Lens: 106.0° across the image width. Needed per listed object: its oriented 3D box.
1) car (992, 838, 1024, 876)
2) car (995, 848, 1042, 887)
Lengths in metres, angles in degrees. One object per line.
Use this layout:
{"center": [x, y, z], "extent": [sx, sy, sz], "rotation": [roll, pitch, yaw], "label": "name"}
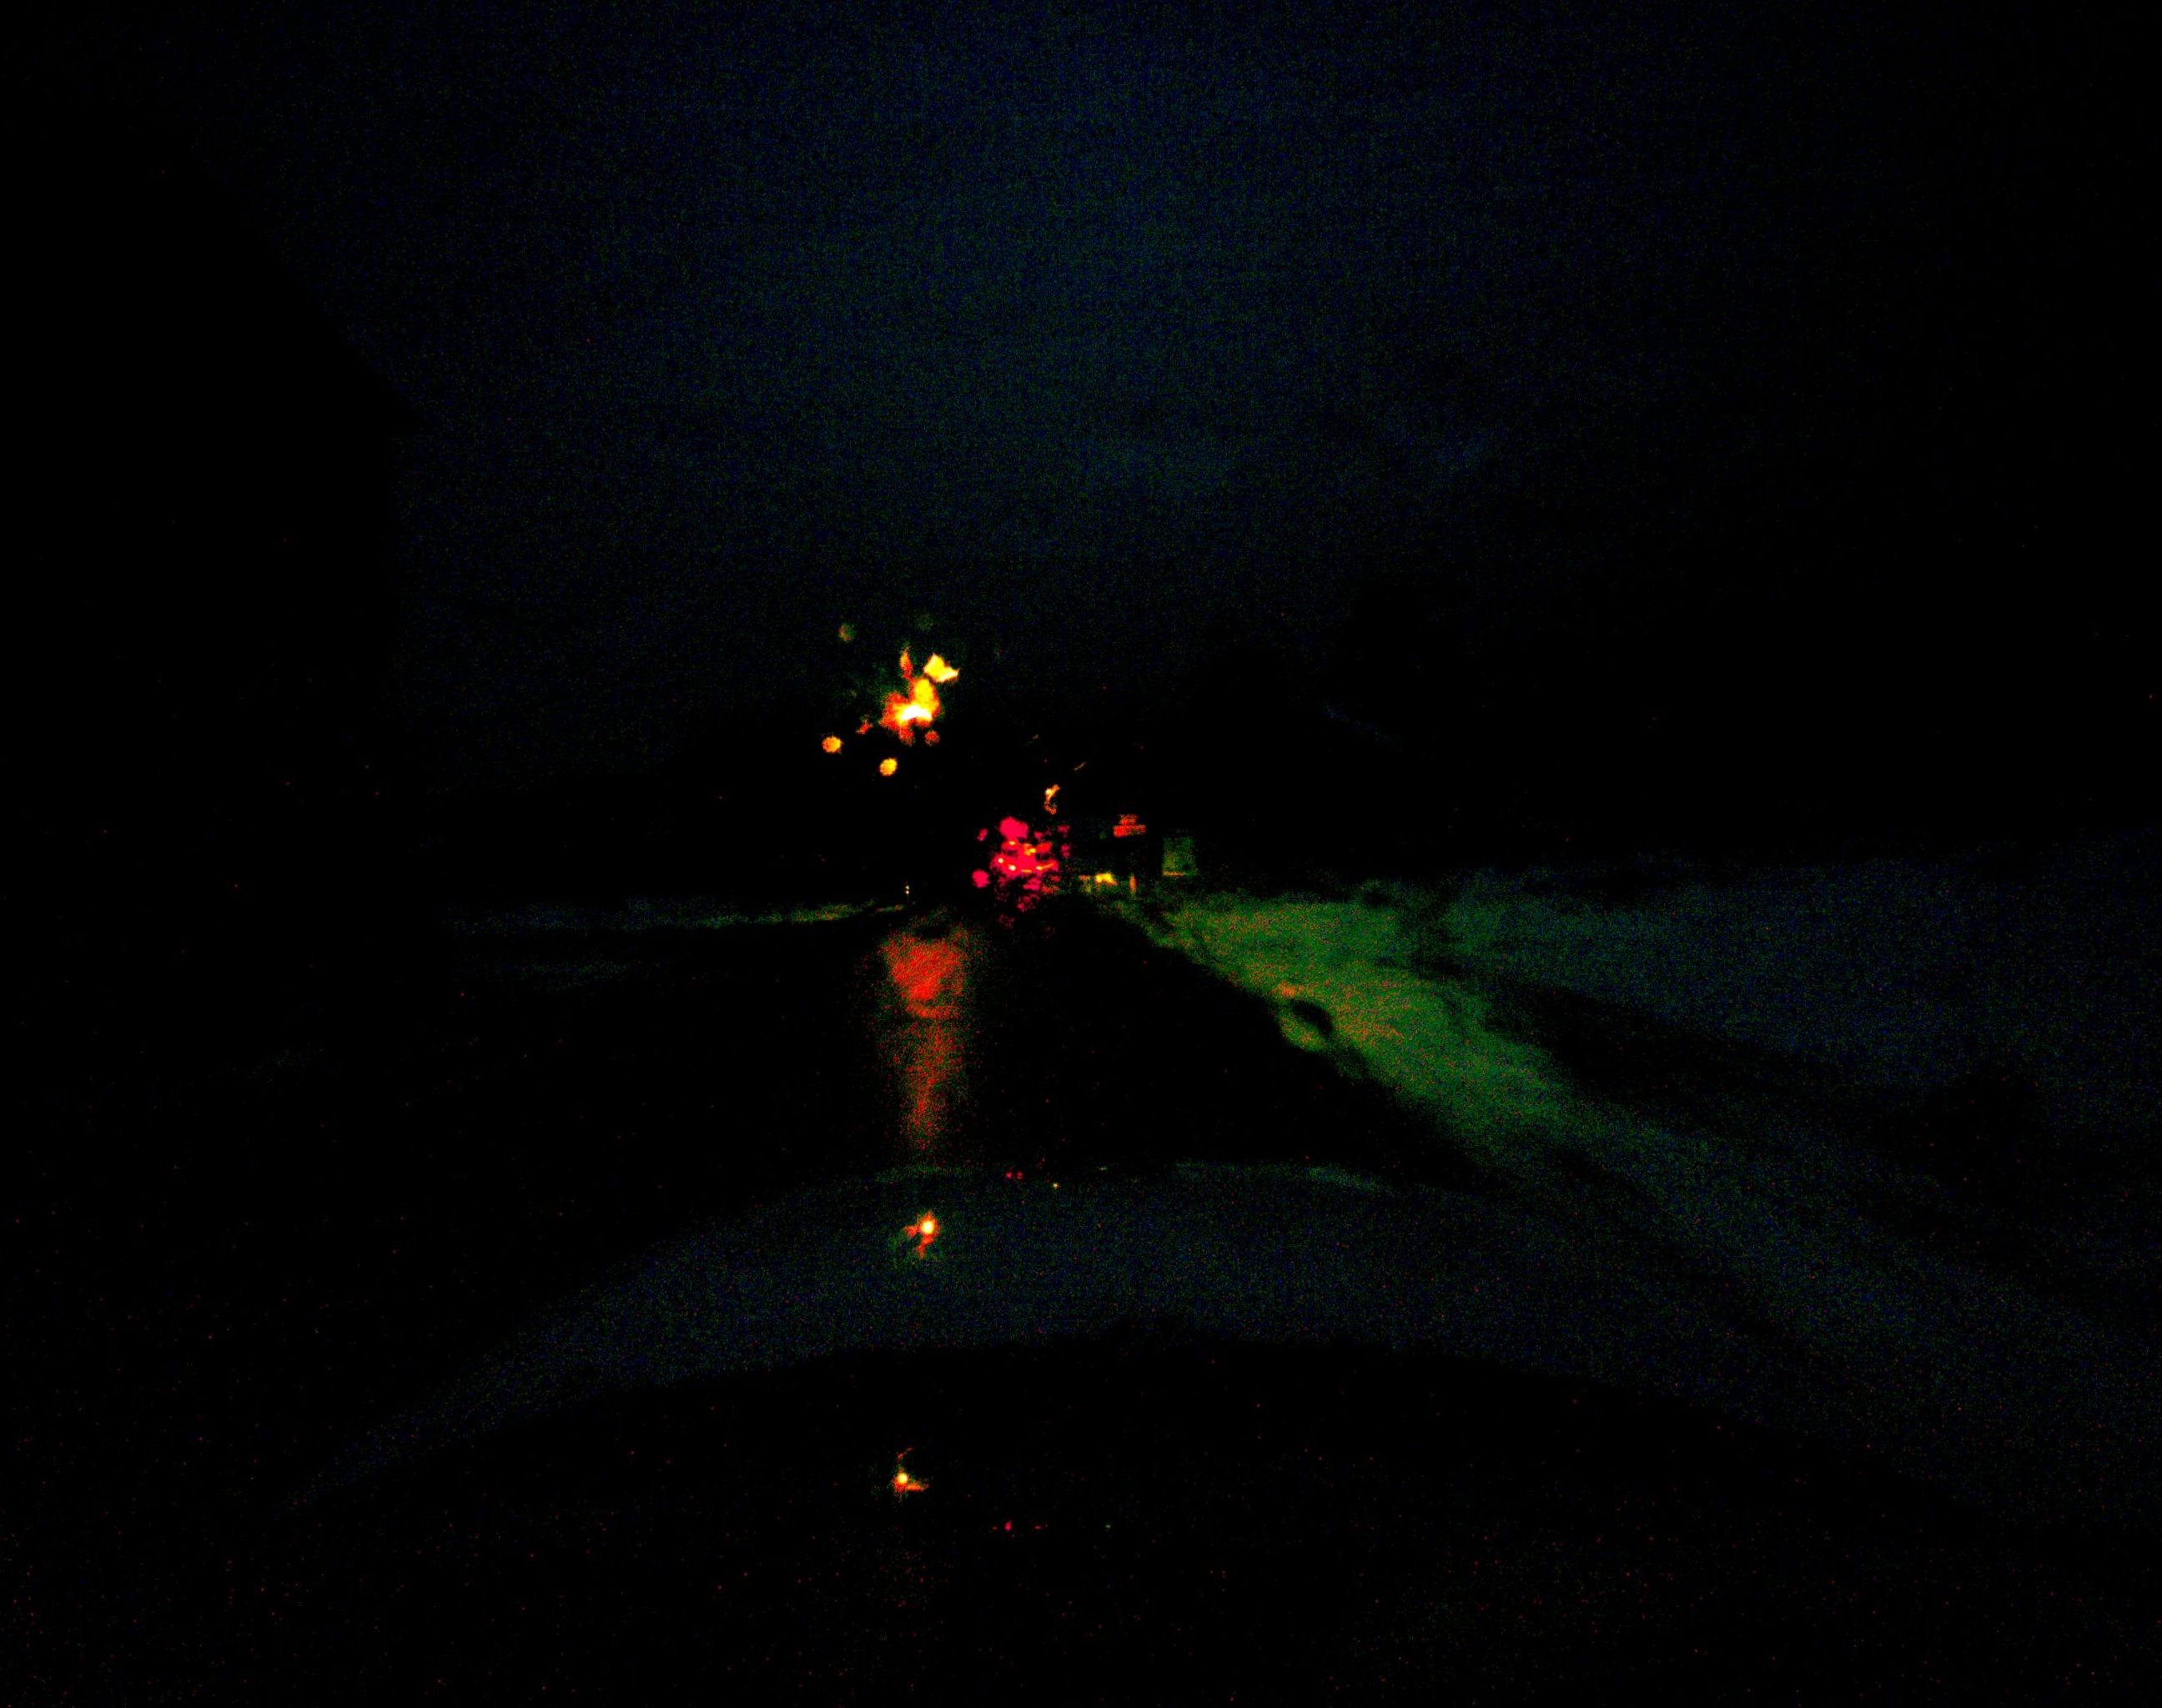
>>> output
{"center": [-6.226, 0.310, 68.884], "extent": [2.433, 3.019, 5.311], "rotation": [-2, -2, -7], "label": "car"}
{"center": [-3.275, 0.650, 42.422], "extent": [2.270, 1.840, 4.998], "rotation": [-2, 0, -5], "label": "car"}
